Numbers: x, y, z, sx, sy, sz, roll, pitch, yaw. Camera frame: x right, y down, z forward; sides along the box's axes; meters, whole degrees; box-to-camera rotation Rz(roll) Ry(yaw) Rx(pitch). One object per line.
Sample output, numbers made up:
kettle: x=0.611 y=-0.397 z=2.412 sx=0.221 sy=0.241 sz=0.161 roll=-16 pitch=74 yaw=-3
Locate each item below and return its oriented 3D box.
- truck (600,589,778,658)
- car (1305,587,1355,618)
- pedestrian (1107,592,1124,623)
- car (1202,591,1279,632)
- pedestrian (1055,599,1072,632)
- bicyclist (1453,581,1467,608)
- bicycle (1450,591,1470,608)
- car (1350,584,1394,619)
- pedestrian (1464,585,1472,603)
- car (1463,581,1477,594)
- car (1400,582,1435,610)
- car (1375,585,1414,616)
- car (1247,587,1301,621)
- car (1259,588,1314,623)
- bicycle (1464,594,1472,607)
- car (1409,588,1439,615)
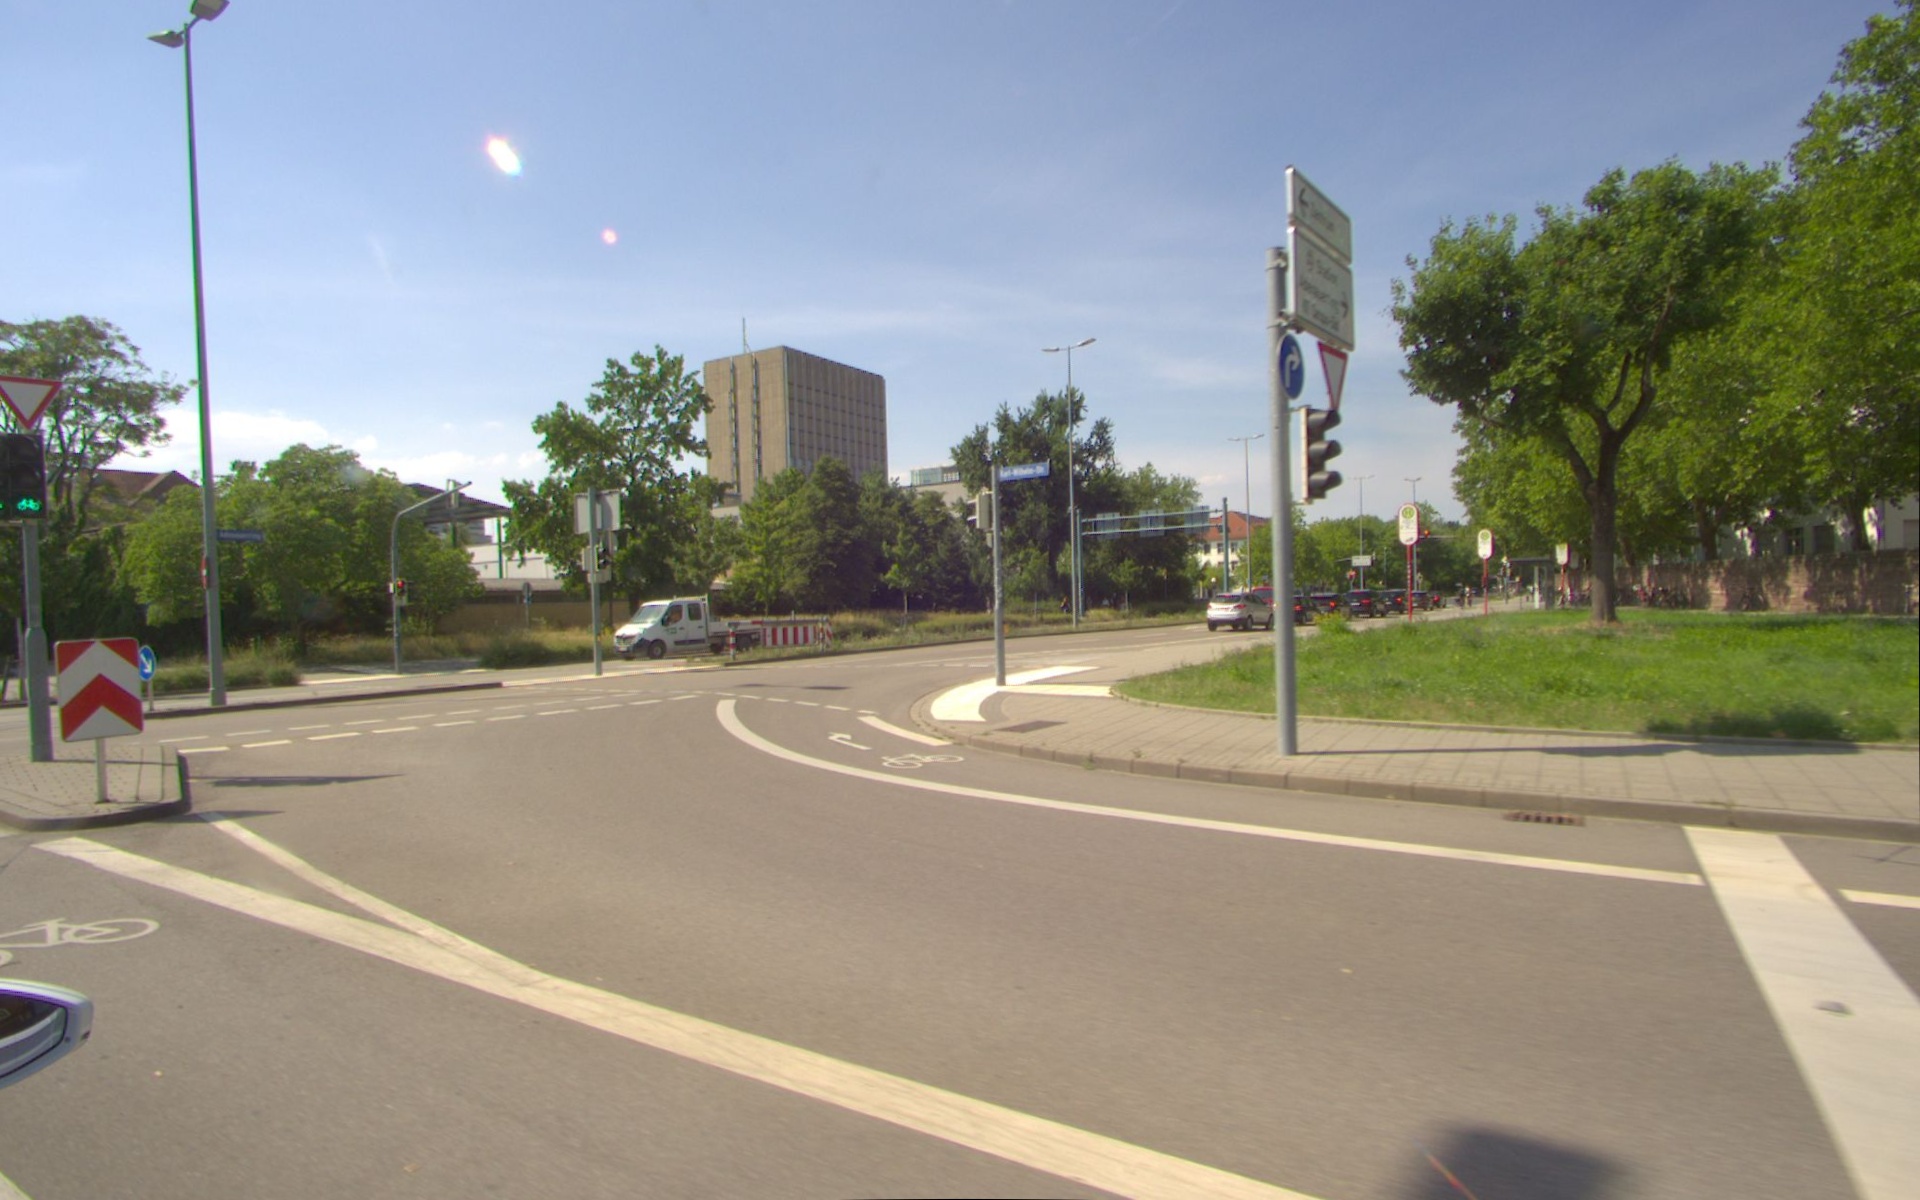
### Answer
truck: x=-10.624 y=0.875 z=39.964 sx=2.380 sy=2.386 sz=7.007 roll=-3 pitch=0 yaw=32
car: x=20.654 y=0.147 z=55.882 sx=1.564 sy=1.612 sz=3.972 roll=-1 pitch=1 yaw=36
pedestrian: x=12.808 y=0.642 z=82.482 sx=0.941 sy=2.566 sz=1.118 roll=-1 pitch=-1 yaw=33
car: x=12.309 y=0.480 z=43.816 sx=1.691 sy=1.640 sz=4.183 roll=-1 pitch=1 yaw=40
pedestrian: x=8.137 y=1.211 z=78.483 sx=0.941 sy=2.566 sz=1.118 roll=-1 pitch=-1 yaw=33
bicyclist: x=39.612 y=-0.428 z=79.353 sx=0.769 sy=2.039 sz=1.265 roll=-1 pitch=-2 yaw=38
bicycle: x=39.696 y=0.009 z=79.451 sx=0.838 sy=1.233 sz=3.462 roll=-2 pitch=-2 yaw=37
car: x=25.348 y=0.072 z=61.527 sx=1.970 sy=2.040 sz=3.980 roll=-1 pitch=1 yaw=30
pedestrian: x=41.871 y=-0.483 z=82.590 sx=0.552 sy=1.458 sz=0.729 roll=-1 pitch=1 yaw=30
car: x=89.358 y=-2.212 z=175.425 sx=1.968 sy=2.039 sz=3.987 roll=-1 pitch=-2 yaw=26
car: x=34.613 y=-0.298 z=75.696 sx=1.970 sy=2.040 sz=3.980 roll=-1 pitch=1 yaw=30
car: x=29.978 y=0.010 z=68.998 sx=1.970 sy=2.040 sz=3.980 roll=-1 pitch=1 yaw=30
car: x=18.287 y=0.218 z=58.184 sx=1.950 sy=1.821 sz=4.587 roll=-1 pitch=1 yaw=31
car: x=16.360 y=0.249 z=50.049 sx=1.563 sy=1.612 sz=3.974 roll=-1 pitch=1 yaw=35
bicycle: x=41.915 y=0.046 z=82.647 sx=0.552 sy=1.066 sz=1.318 roll=-1 pitch=1 yaw=30
car: x=37.853 y=0.130 z=81.661 sx=1.970 sy=2.039 sz=3.984 roll=-1 pitch=-2 yaw=29
